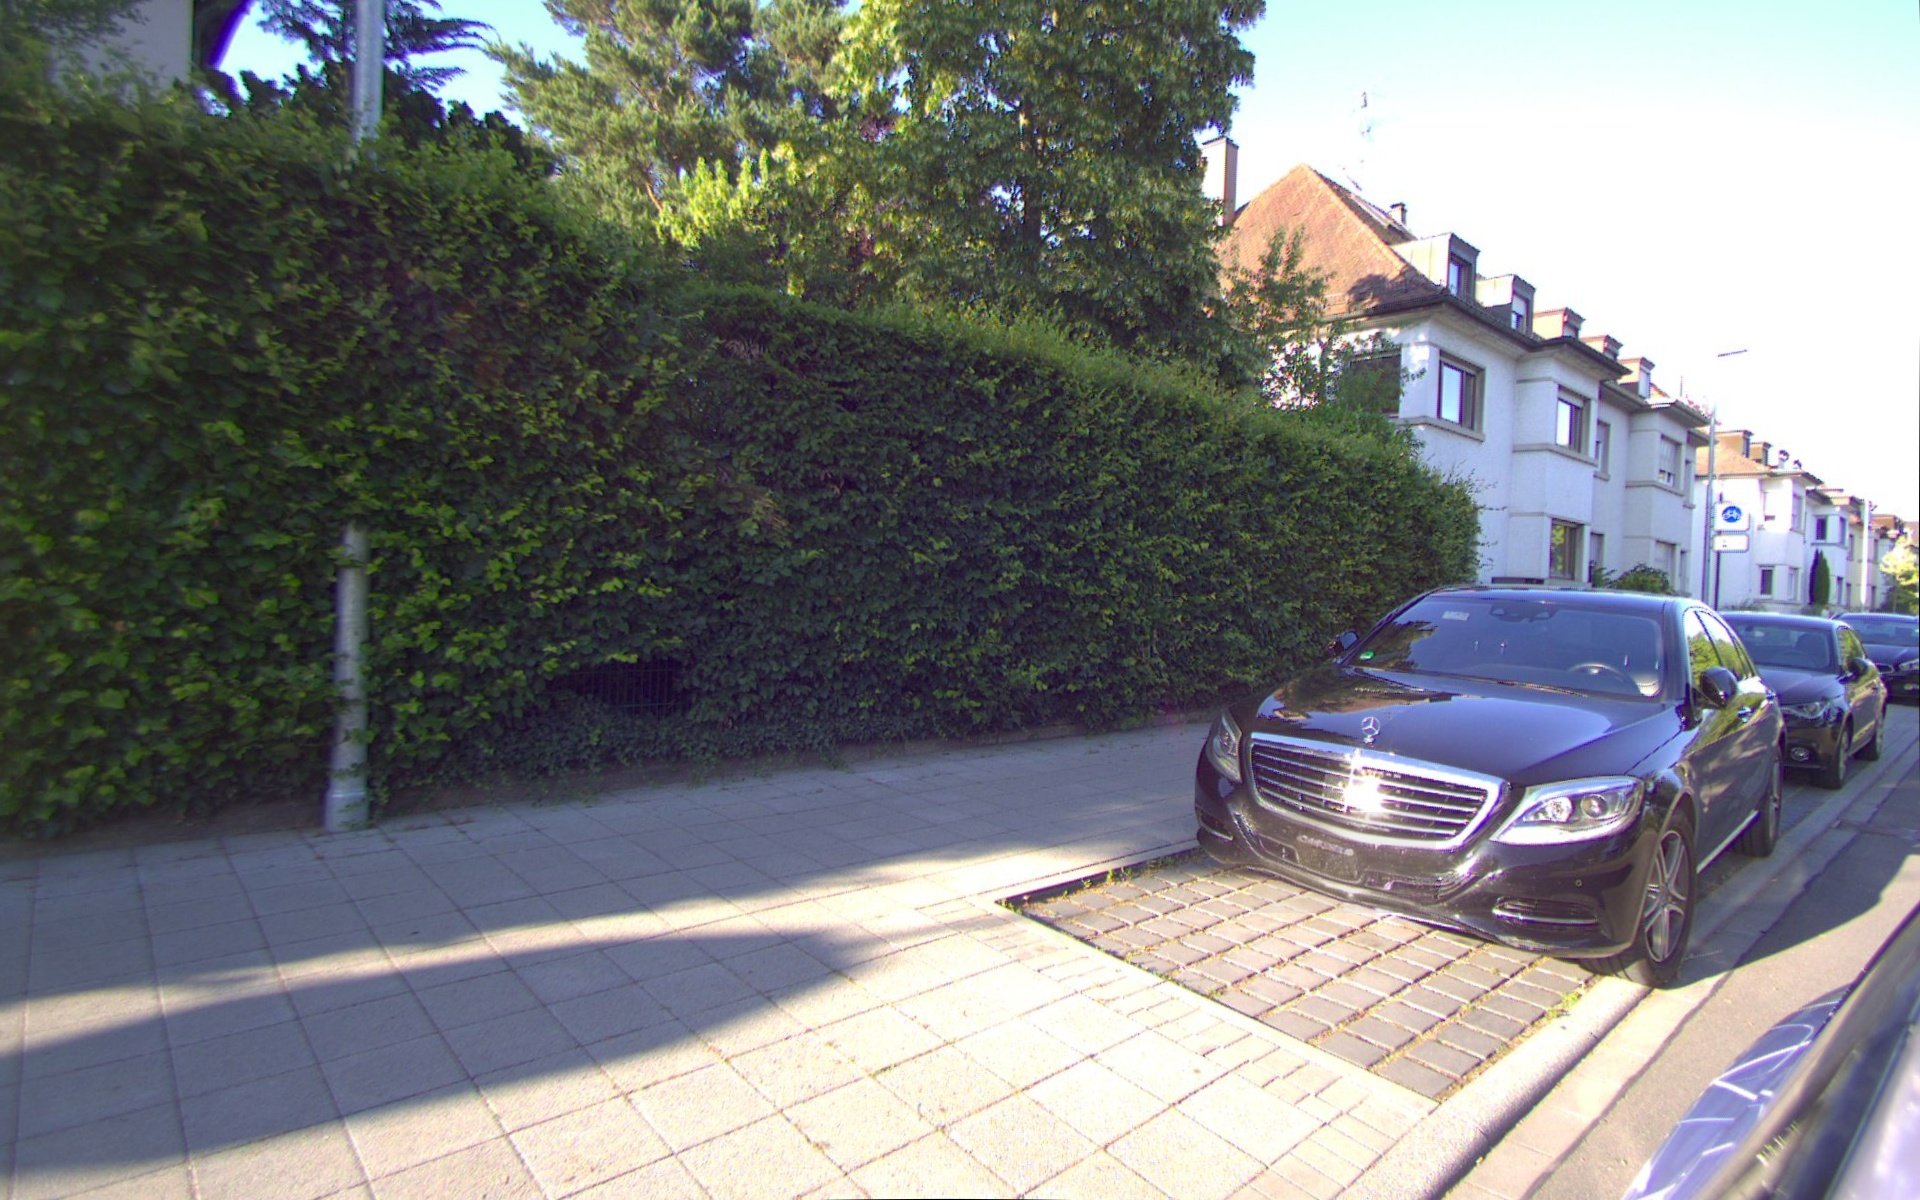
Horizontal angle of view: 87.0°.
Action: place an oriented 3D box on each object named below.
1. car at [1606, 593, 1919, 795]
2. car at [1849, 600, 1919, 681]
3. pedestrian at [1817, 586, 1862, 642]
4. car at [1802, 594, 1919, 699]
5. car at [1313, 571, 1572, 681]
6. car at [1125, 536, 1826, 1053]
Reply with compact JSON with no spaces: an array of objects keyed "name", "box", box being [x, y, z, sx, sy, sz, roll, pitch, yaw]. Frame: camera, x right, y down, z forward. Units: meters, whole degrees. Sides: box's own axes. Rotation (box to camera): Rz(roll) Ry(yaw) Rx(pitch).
[{"name":"car","box":[7.758,0.731,9.647,3.868,1.445,1.644,1,3,-42]},{"name":"car","box":[19.868,0.823,20.957,3.916,1.489,1.721,1,4,-43]},{"name":"pedestrian","box":[33.002,0.499,37.980,1.081,2.038,0.856,2,1,33]},{"name":"car","box":[16.018,0.746,17.401,4.183,1.492,1.750,1,5,-43]},{"name":"car","box":[8.293,0.370,17.587,3.637,1.514,1.752,5,4,45]},{"name":"car","box":[3.114,0.568,5.452,4.792,1.561,1.861,0,3,-44]}]
